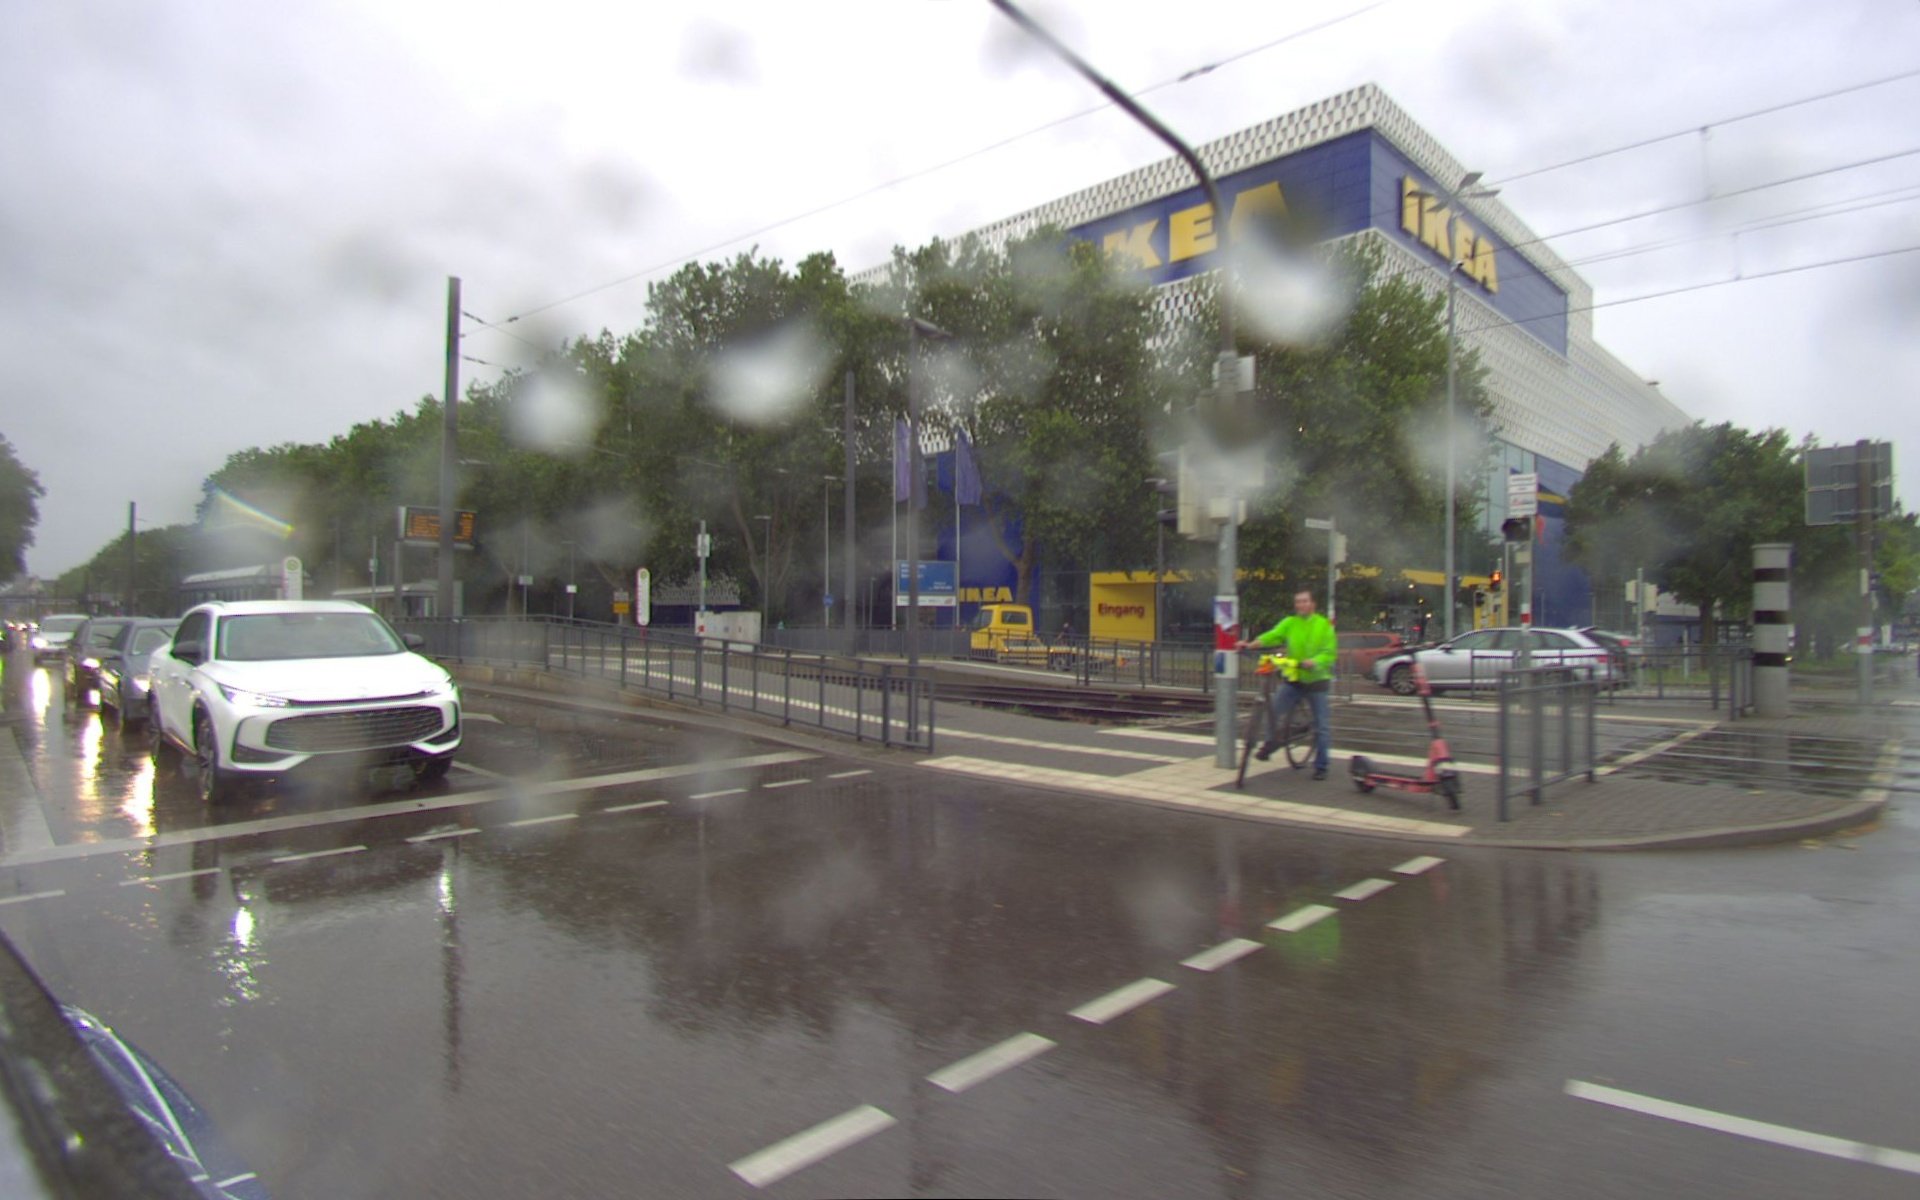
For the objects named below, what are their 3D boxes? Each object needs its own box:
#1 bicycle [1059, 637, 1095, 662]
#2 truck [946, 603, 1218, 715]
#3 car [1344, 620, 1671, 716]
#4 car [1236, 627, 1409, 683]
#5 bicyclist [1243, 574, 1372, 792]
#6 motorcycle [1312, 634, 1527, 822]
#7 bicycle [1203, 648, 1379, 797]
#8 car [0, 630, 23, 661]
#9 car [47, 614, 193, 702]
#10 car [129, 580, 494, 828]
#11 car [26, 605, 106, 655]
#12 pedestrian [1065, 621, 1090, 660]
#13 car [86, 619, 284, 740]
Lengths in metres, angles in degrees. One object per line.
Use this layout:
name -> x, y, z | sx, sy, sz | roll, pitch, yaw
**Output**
bicycle -> 4.244, 1.778, 36.657 | 1.175, 0.863, 0.566 | -1, 0, 40
truck -> 3.559, 1.631, 32.244 | 2.707, 2.870, 9.105 | -1, 2, -42
car -> 10.738, 1.297, 20.251 | 1.970, 1.579, 5.367 | -2, -1, -43
car -> 11.916, 1.803, 33.596 | 5.002, 1.579, 1.995 | -3, -1, 9
bicyclist -> 2.951, 0.672, 8.603 | 0.793, 1.745, 0.610 | -3, -1, 42
motorcycle -> 3.363, 0.880, 7.531 | 0.519, 1.230, 1.406 | -2, -1, -25
bicycle -> 2.838, 0.973, 8.561 | 0.670, 1.016, 1.845 | -3, -1, 43
car -> -49.941, 2.372, 52.531 | 4.044, 1.536, 1.692 | -3, -1, 45
car -> -16.527, 1.070, 19.816 | 4.699, 1.485, 1.728 | -2, -1, 44
car -> -6.348, 0.788, 9.645 | 4.555, 1.802, 1.966 | -2, -1, 45
car -> -29.399, 1.004, 33.245 | 4.044, 1.536, 1.692 | -3, -1, 45
pedestrian -> 4.264, 1.459, 36.631 | 0.686, 1.345, 0.572 | -1, 0, 40
car -> -11.279, 1.033, 14.595 | 1.691, 1.424, 4.700 | -1, -1, -45
